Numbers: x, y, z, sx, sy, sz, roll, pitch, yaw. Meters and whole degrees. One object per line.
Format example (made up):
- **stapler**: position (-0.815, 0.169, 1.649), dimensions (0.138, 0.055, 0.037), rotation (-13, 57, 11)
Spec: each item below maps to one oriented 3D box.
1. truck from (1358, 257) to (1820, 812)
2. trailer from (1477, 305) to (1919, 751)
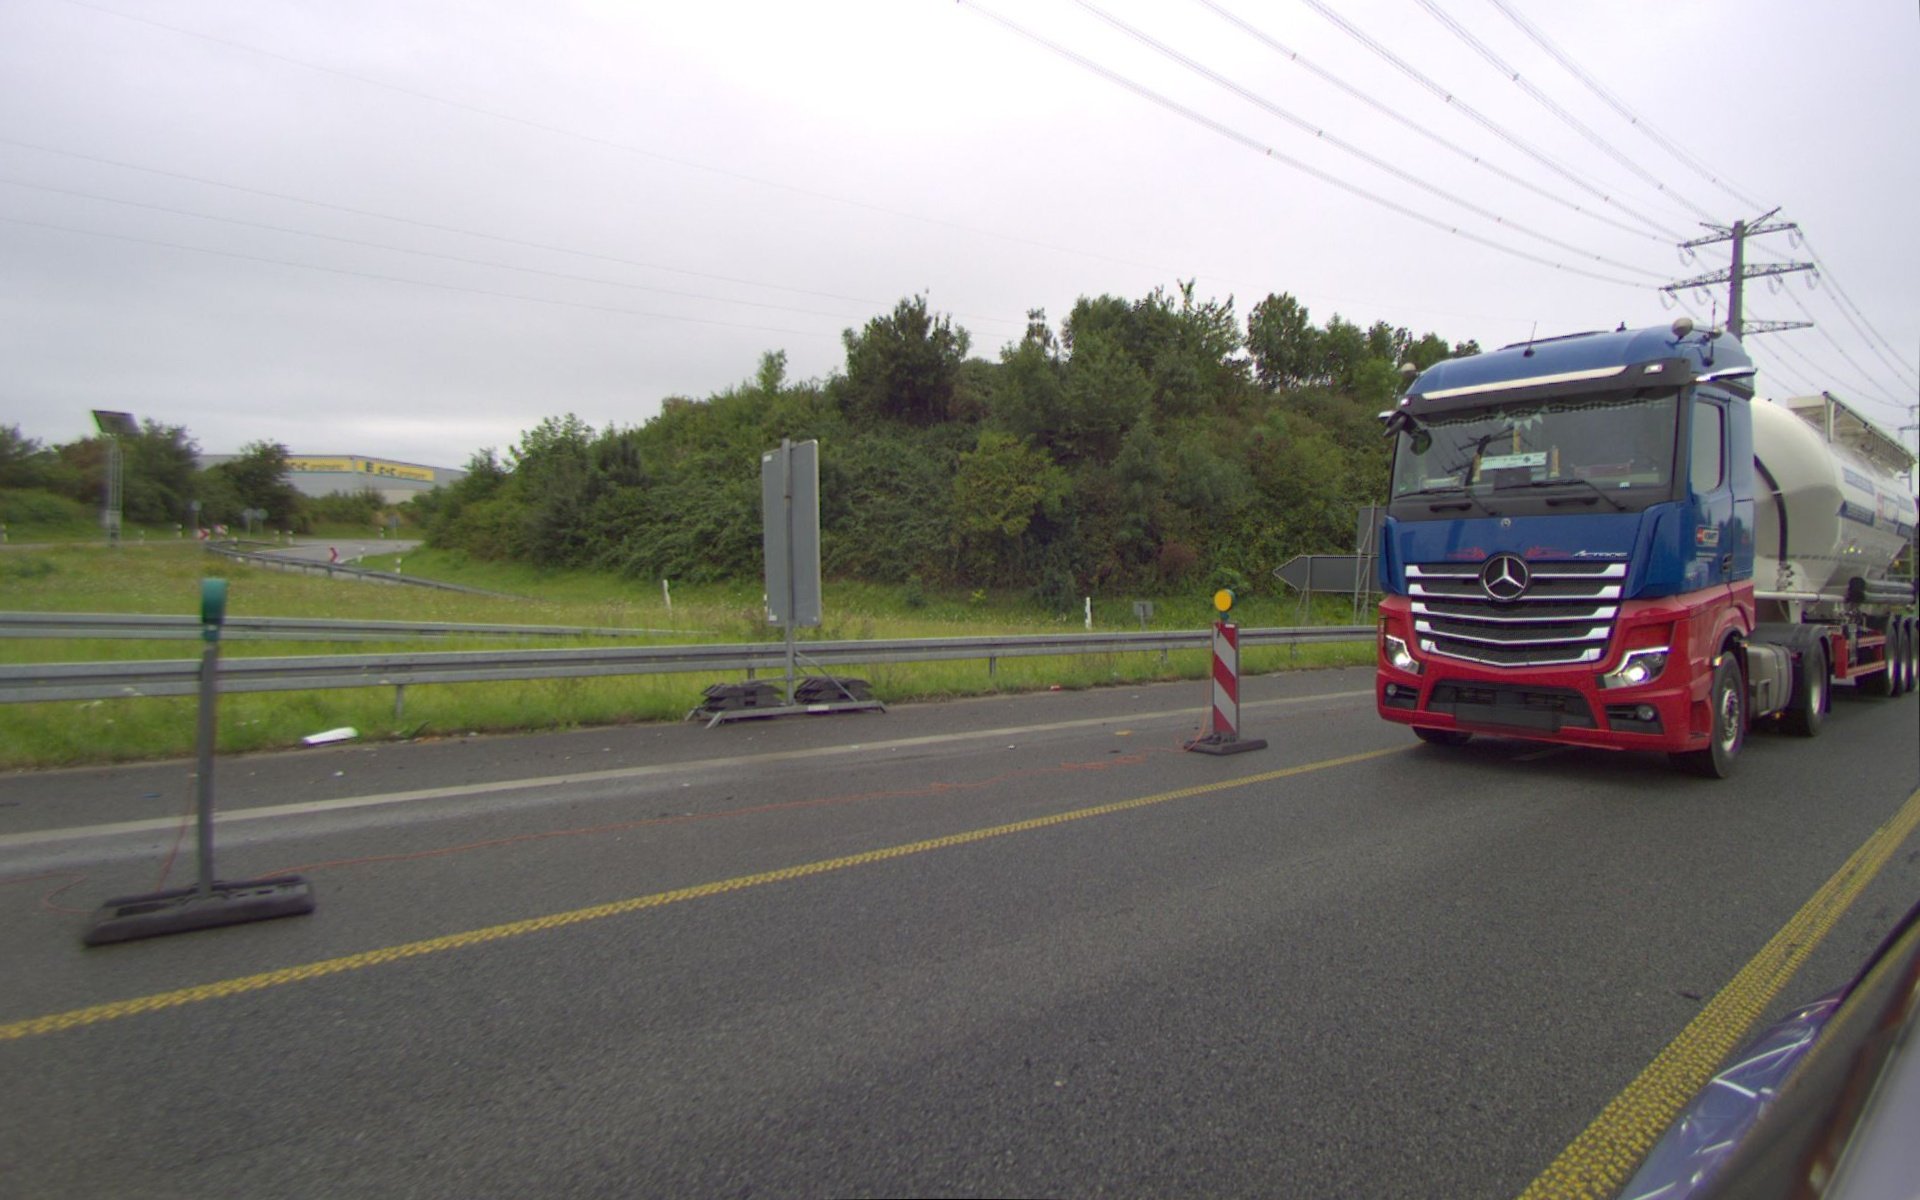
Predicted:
- **truck**: position (5.976, -0.509, 9.525), dimensions (3.928, 3.996, 2.553), rotation (-1, 0, -39)
- **trailer**: position (10.979, -0.735, 13.699), dimensions (12.132, 3.882, 2.524), rotation (-1, 1, -40)
